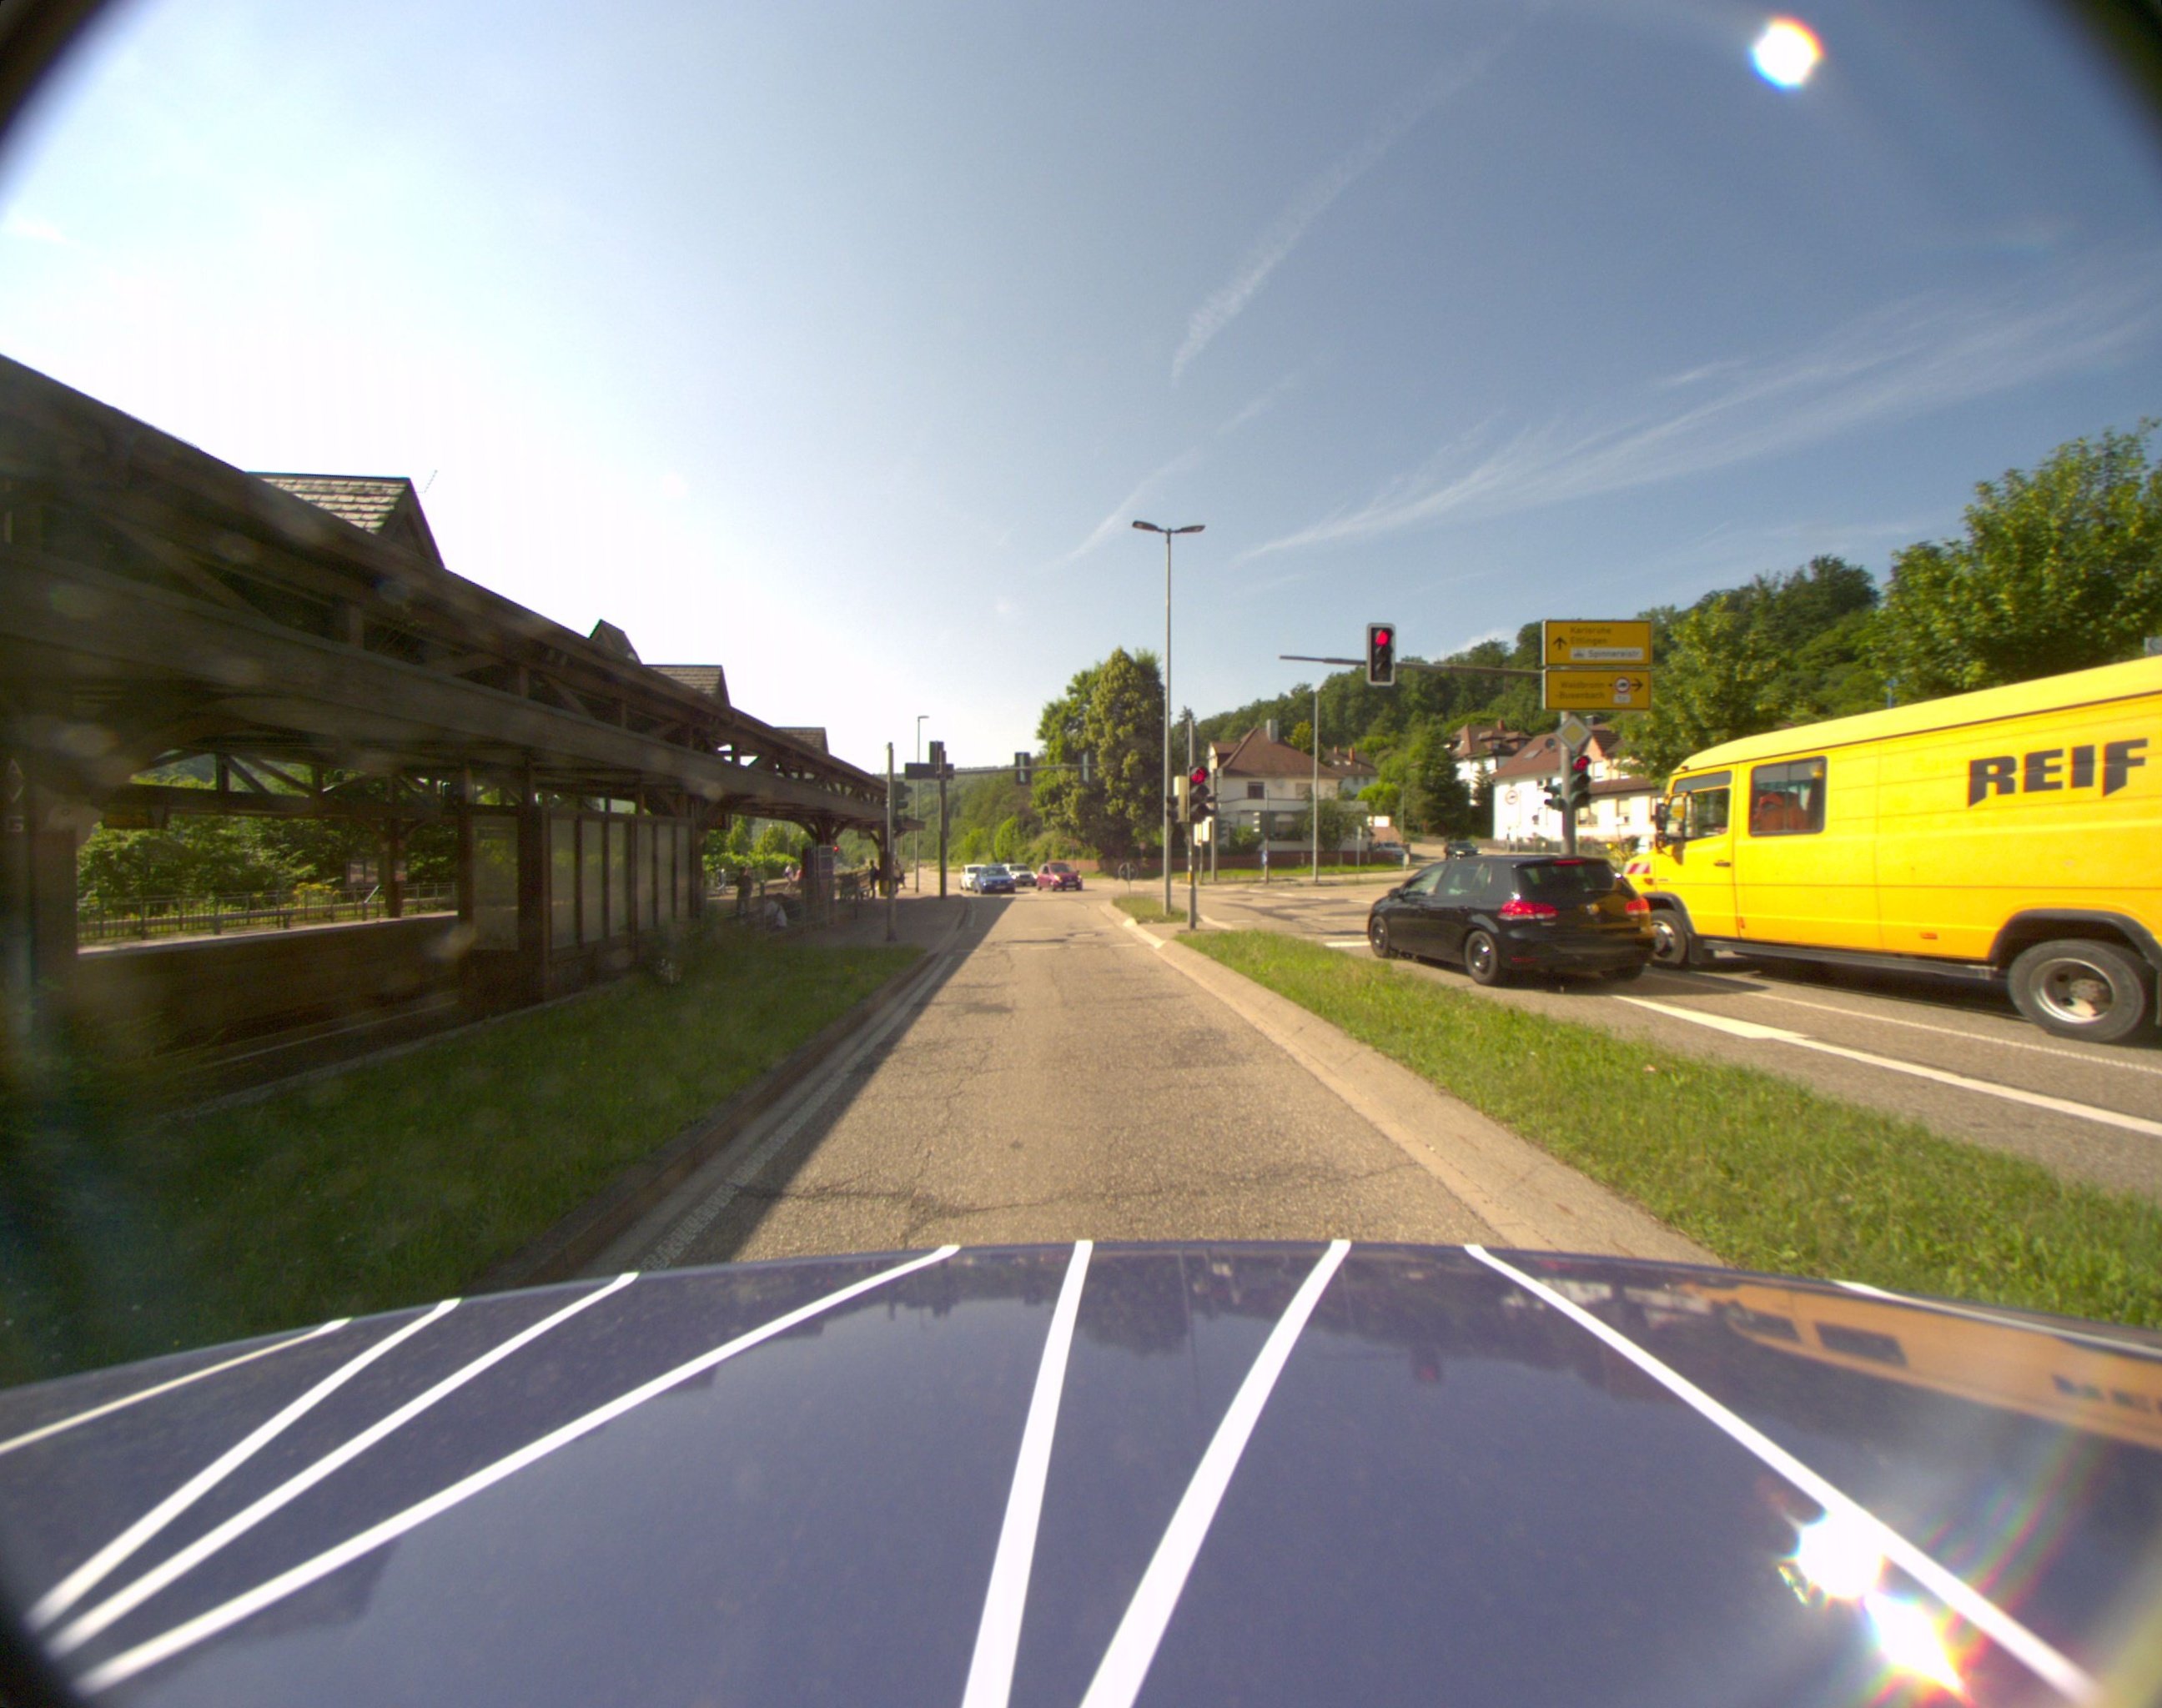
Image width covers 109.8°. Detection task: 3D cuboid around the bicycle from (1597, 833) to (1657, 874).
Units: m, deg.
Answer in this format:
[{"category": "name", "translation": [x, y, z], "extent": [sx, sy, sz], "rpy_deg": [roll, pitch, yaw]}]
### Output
[{"category": "bicycle", "translation": [18.294, 0.008, 25.505], "extent": [0.620, 1.247, 1.758], "rpy_deg": [-6, -2, 2]}]

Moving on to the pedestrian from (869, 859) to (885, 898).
[{"category": "pedestrian", "translation": [-8.890, 1.056, 33.131], "extent": [0.659, 1.682, 0.738], "rpy_deg": [-1, 0, -13]}]

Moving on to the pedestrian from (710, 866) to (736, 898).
[{"category": "pedestrian", "translation": [-21.277, 1.655, 45.207], "extent": [0.990, 1.831, 1.073], "rpy_deg": [-2, -1, 0]}]

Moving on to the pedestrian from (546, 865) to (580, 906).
[{"category": "pedestrian", "translation": [-21.684, 1.300, 31.813], "extent": [0.736, 1.674, 0.904], "rpy_deg": [-3, -1, 0]}]

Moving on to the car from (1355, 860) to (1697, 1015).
[{"category": "car", "translation": [5.099, 0.832, 9.464], "extent": [1.750, 1.454, 4.042], "rpy_deg": [-1, 0, -3]}]

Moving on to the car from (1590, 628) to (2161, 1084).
[{"category": "car", "translation": [8.222, -0.028, 6.955], "extent": [2.474, 2.993, 6.464], "rpy_deg": [-3, 0, -3]}]

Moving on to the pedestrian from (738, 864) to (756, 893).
[{"category": "pedestrian", "translation": [-20.030, 1.465, 45.617], "extent": [0.905, 1.674, 0.821], "rpy_deg": [-3, -1, -23]}]

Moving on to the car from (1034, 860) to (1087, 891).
[{"category": "car", "translation": [-1.139, 1.122, 39.904], "extent": [1.663, 1.525, 3.949], "rpy_deg": [-1, -1, -19]}]

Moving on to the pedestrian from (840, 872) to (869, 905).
[{"category": "pedestrian", "translation": [-8.706, 1.323, 29.260], "extent": [0.994, 1.228, 0.596], "rpy_deg": [-3, -1, -14]}]

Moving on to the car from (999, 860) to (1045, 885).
[{"category": "car", "translation": [-3.917, 1.244, 49.893], "extent": [1.982, 1.495, 4.745], "rpy_deg": [-2, -1, -17]}]

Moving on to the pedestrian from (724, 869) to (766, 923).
[{"category": "pedestrian", "translation": [-9.776, 1.207, 22.141], "extent": [0.863, 1.538, 0.922], "rpy_deg": [-1, -1, -5]}]

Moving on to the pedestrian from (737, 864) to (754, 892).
[{"category": "pedestrian", "translation": [-20.651, 1.449, 46.753], "extent": [0.558, 1.674, 0.685], "rpy_deg": [-3, -1, 21]}]

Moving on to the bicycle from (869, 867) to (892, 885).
[{"category": "bicycle", "translation": [-12.081, 1.313, 45.676], "extent": [0.605, 1.049, 1.809], "rpy_deg": [-3, 0, -39]}]

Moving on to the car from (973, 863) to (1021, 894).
[{"category": "car", "translation": [-4.356, 1.215, 39.011], "extent": [1.867, 1.474, 4.297], "rpy_deg": [-1, 0, -14]}]

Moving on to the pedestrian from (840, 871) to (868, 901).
[{"category": "pedestrian", "translation": [-9.085, 1.278, 30.439], "extent": [1.010, 1.153, 0.947], "rpy_deg": [-2, 1, -13]}]

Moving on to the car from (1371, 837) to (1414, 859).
[{"category": "car", "translation": [25.827, -0.433, 63.130], "extent": [1.939, 1.627, 4.001], "rpy_deg": [-3, -1, 2]}]

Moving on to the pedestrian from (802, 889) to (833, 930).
[{"category": "pedestrian", "translation": [-6.564, 1.382, 18.938], "extent": [0.619, 0.960, 0.406], "rpy_deg": [-3, -1, -7]}]

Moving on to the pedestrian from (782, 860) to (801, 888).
[{"category": "pedestrian", "translation": [-17.793, 1.224, 46.712], "extent": [0.868, 1.674, 0.822], "rpy_deg": [-3, -1, -7]}]

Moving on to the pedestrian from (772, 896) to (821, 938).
[{"category": "pedestrian", "translation": [-6.486, 1.426, 17.365], "extent": [0.847, 0.869, 0.807], "rpy_deg": [-3, -1, -7]}]

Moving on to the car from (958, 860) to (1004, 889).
[{"category": "car", "translation": [-6.008, 1.212, 45.407], "extent": [2.001, 1.575, 3.994], "rpy_deg": [-3, 0, -17]}]

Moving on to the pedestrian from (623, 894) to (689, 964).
[{"category": "pedestrian", "translation": [-7.283, 1.266, 13.037], "extent": [0.744, 1.110, 0.667], "rpy_deg": [-3, -1, -7]}]

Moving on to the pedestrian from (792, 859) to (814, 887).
[{"category": "pedestrian", "translation": [-16.948, 1.145, 46.266], "extent": [0.901, 1.674, 0.824], "rpy_deg": [-3, -1, 34]}]

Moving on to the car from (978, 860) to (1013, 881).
[{"category": "car", "translation": [-6.624, 1.277, 58.522], "extent": [1.982, 1.495, 3.982], "rpy_deg": [-2, -1, -17]}]

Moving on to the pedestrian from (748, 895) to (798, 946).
[{"category": "pedestrian", "translation": [-6.429, 1.367, 15.890], "extent": [0.744, 0.976, 0.769], "rpy_deg": [-3, -1, -7]}]

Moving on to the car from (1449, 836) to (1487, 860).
[{"category": "car", "translation": [29.050, -0.465, 57.195], "extent": [1.976, 1.476, 4.755], "rpy_deg": [-3, 3, 21]}]

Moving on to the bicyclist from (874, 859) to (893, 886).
[{"category": "bicyclist", "translation": [-11.886, 1.098, 45.735], "extent": [0.788, 1.559, 0.945], "rpy_deg": [-3, 1, -32]}]

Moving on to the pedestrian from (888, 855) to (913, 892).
[{"category": "pedestrian", "translation": [-8.837, 0.951, 37.166], "extent": [0.917, 1.726, 1.249], "rpy_deg": [-3, -1, -23]}]
